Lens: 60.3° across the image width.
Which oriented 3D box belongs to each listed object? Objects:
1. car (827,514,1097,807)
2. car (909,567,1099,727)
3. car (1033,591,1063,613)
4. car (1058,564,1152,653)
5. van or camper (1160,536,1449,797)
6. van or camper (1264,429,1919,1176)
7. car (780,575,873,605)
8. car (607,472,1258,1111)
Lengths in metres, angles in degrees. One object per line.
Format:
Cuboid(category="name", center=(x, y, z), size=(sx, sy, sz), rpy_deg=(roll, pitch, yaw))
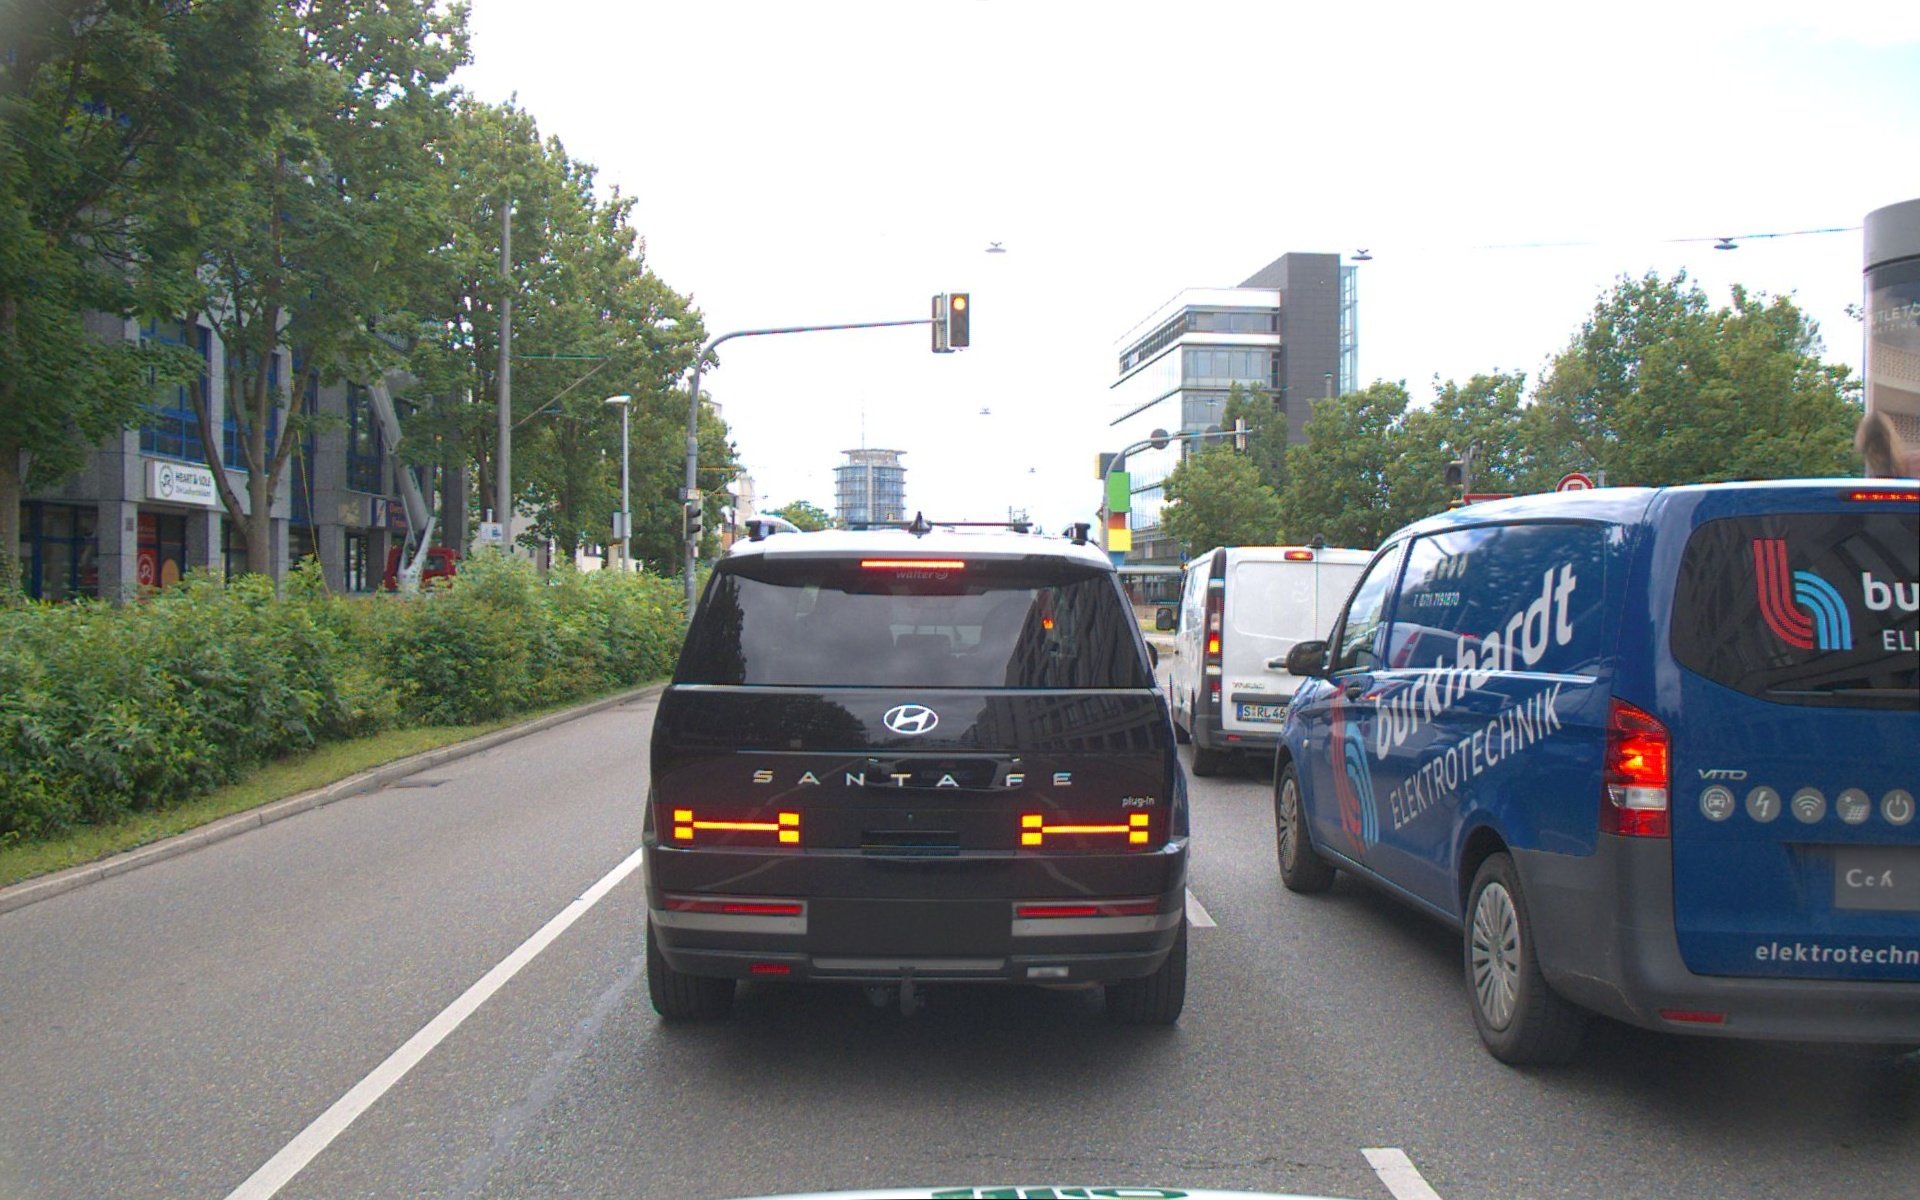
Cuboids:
Cuboid(category="car", center=(-0.015, 0.412, 13.462), size=(1.876, 2.038, 3.879), rpy_deg=(0, 0, -1))
Cuboid(category="car", center=(0.664, 0.536, 20.478), size=(1.738, 1.747, 4.342), rpy_deg=(1, 0, 10))
Cuboid(category="car", center=(7.008, 0.170, 131.908), size=(1.954, 1.713, 3.997), rpy_deg=(1, 0, -3))
Cuboid(category="car", center=(3.483, 0.220, 40.485), size=(1.952, 2.049, 4.000), rpy_deg=(1, 0, 0))
Cuboid(category="van or camper", center=(3.018, 0.519, 15.490), size=(1.952, 2.049, 4.654), rpy_deg=(1, 0, 3))
Cuboid(category="van or camper", center=(2.659, 0.516, 6.838), size=(1.822, 1.944, 5.031), rpy_deg=(0, 0, -1))
Cuboid(category="car", center=(-7.626, -0.540, 94.383), size=(5.180, 1.624, 1.997), rpy_deg=(1, -1, -6))
Cuboid(category="car", center=(-0.099, 0.527, 6.599), size=(1.831, 1.791, 3.879), rpy_deg=(0, 0, -1))
